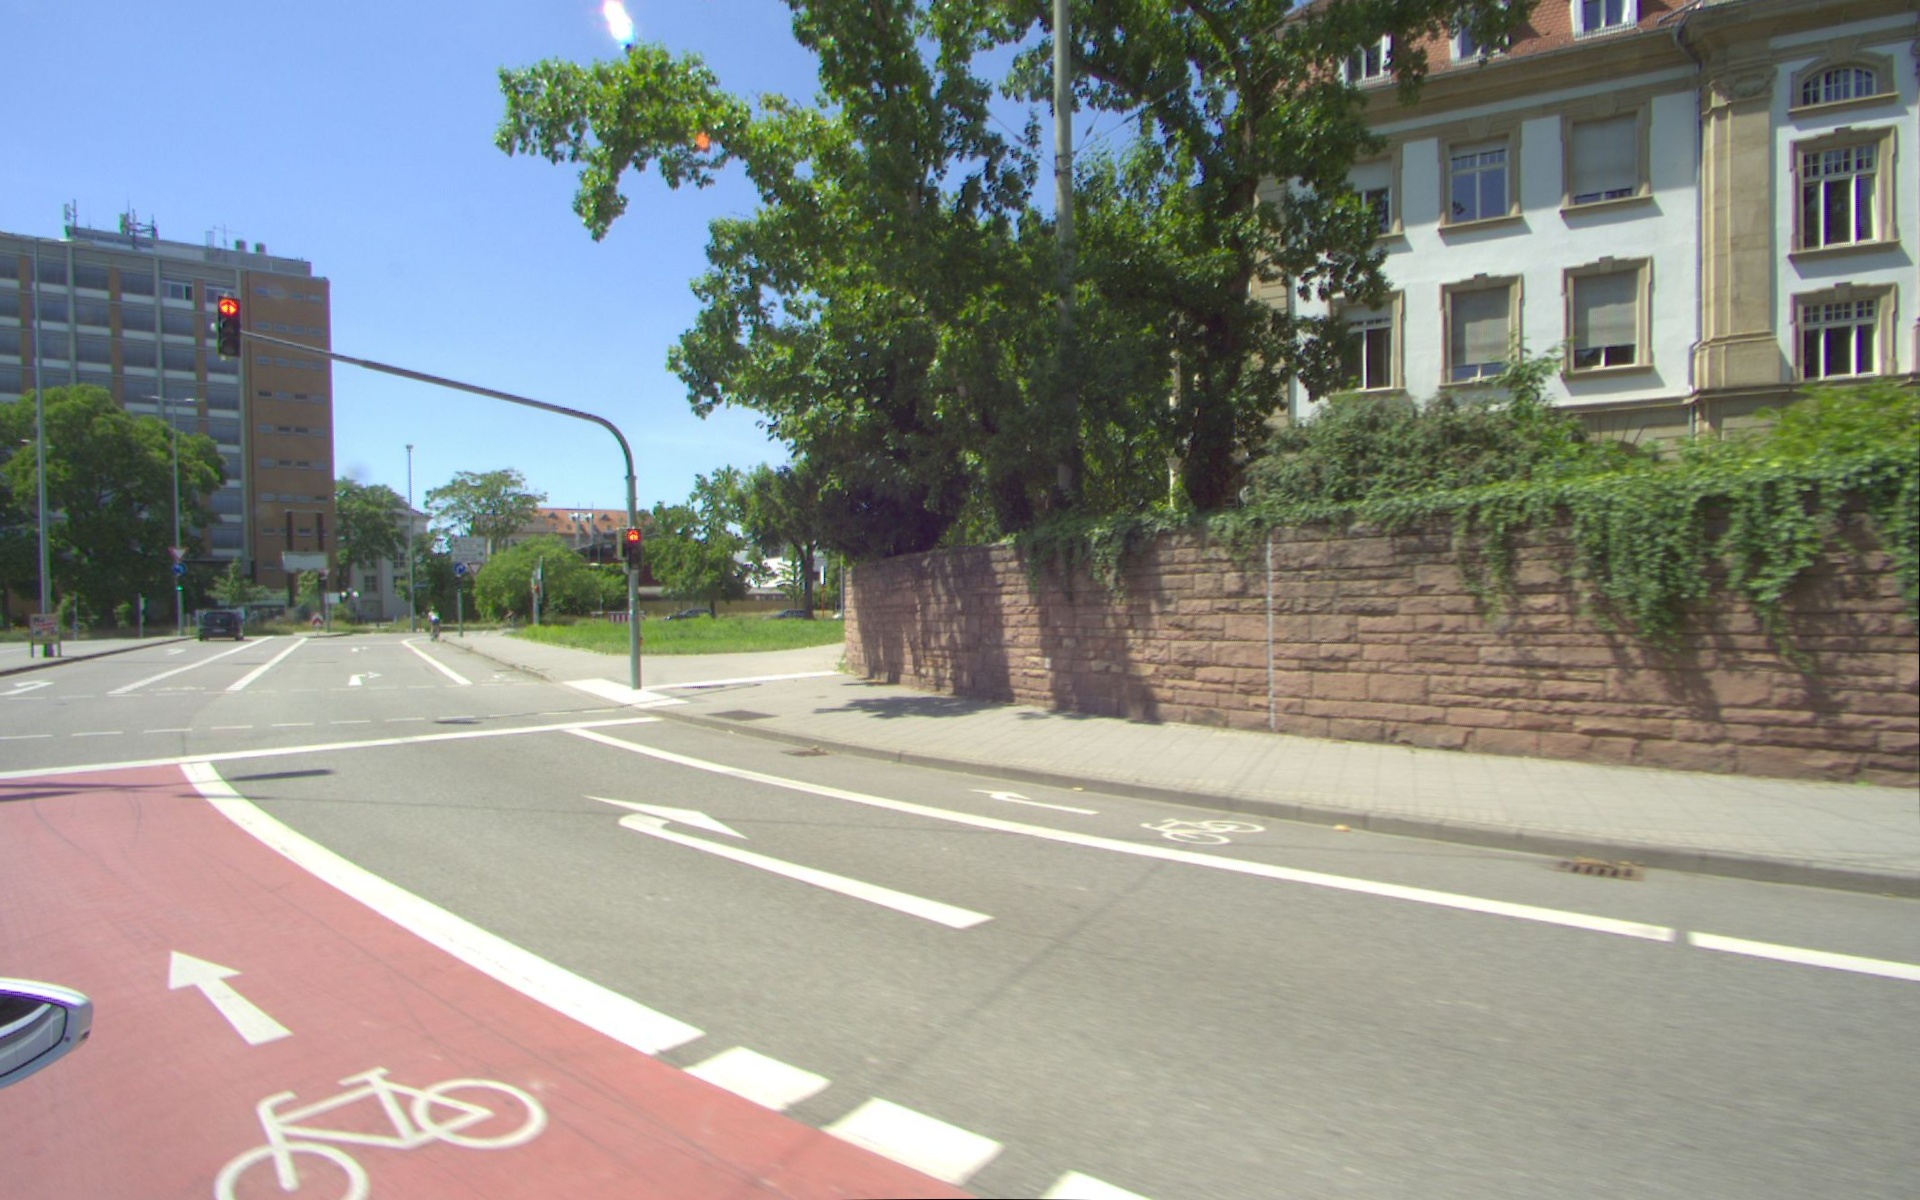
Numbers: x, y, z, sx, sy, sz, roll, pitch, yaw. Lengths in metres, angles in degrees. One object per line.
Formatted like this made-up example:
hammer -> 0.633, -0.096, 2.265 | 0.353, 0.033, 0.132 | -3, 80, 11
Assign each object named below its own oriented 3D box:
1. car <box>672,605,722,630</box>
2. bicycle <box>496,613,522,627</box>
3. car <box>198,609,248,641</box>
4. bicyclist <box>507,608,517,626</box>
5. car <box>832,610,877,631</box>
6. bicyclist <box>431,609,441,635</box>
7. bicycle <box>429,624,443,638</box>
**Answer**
car -> -22.657, 1.493, 86.221 | 3.941, 2.040, 1.463 | -1, -1, -29
bicycle -> -38.856, 1.747, 86.336 | 1.979, 1.150, 0.572 | -1, 0, -20
car -> -36.386, 1.207, 49.396 | 1.676, 1.547, 3.657 | 0, 0, -41
bicyclist -> -38.671, 1.460, 86.389 | 0.675, 1.508, 0.782 | -1, 0, -21
car -> -9.997, 1.971, 94.706 | 3.941, 1.895, 1.463 | -1, -1, -29
bicyclist -> -25.939, 1.077, 49.533 | 0.348, 1.244, 0.560 | -1, 1, -35
bicycle -> -25.962, 1.511, 49.579 | 0.373, 0.655, 1.633 | -1, 0, -35
